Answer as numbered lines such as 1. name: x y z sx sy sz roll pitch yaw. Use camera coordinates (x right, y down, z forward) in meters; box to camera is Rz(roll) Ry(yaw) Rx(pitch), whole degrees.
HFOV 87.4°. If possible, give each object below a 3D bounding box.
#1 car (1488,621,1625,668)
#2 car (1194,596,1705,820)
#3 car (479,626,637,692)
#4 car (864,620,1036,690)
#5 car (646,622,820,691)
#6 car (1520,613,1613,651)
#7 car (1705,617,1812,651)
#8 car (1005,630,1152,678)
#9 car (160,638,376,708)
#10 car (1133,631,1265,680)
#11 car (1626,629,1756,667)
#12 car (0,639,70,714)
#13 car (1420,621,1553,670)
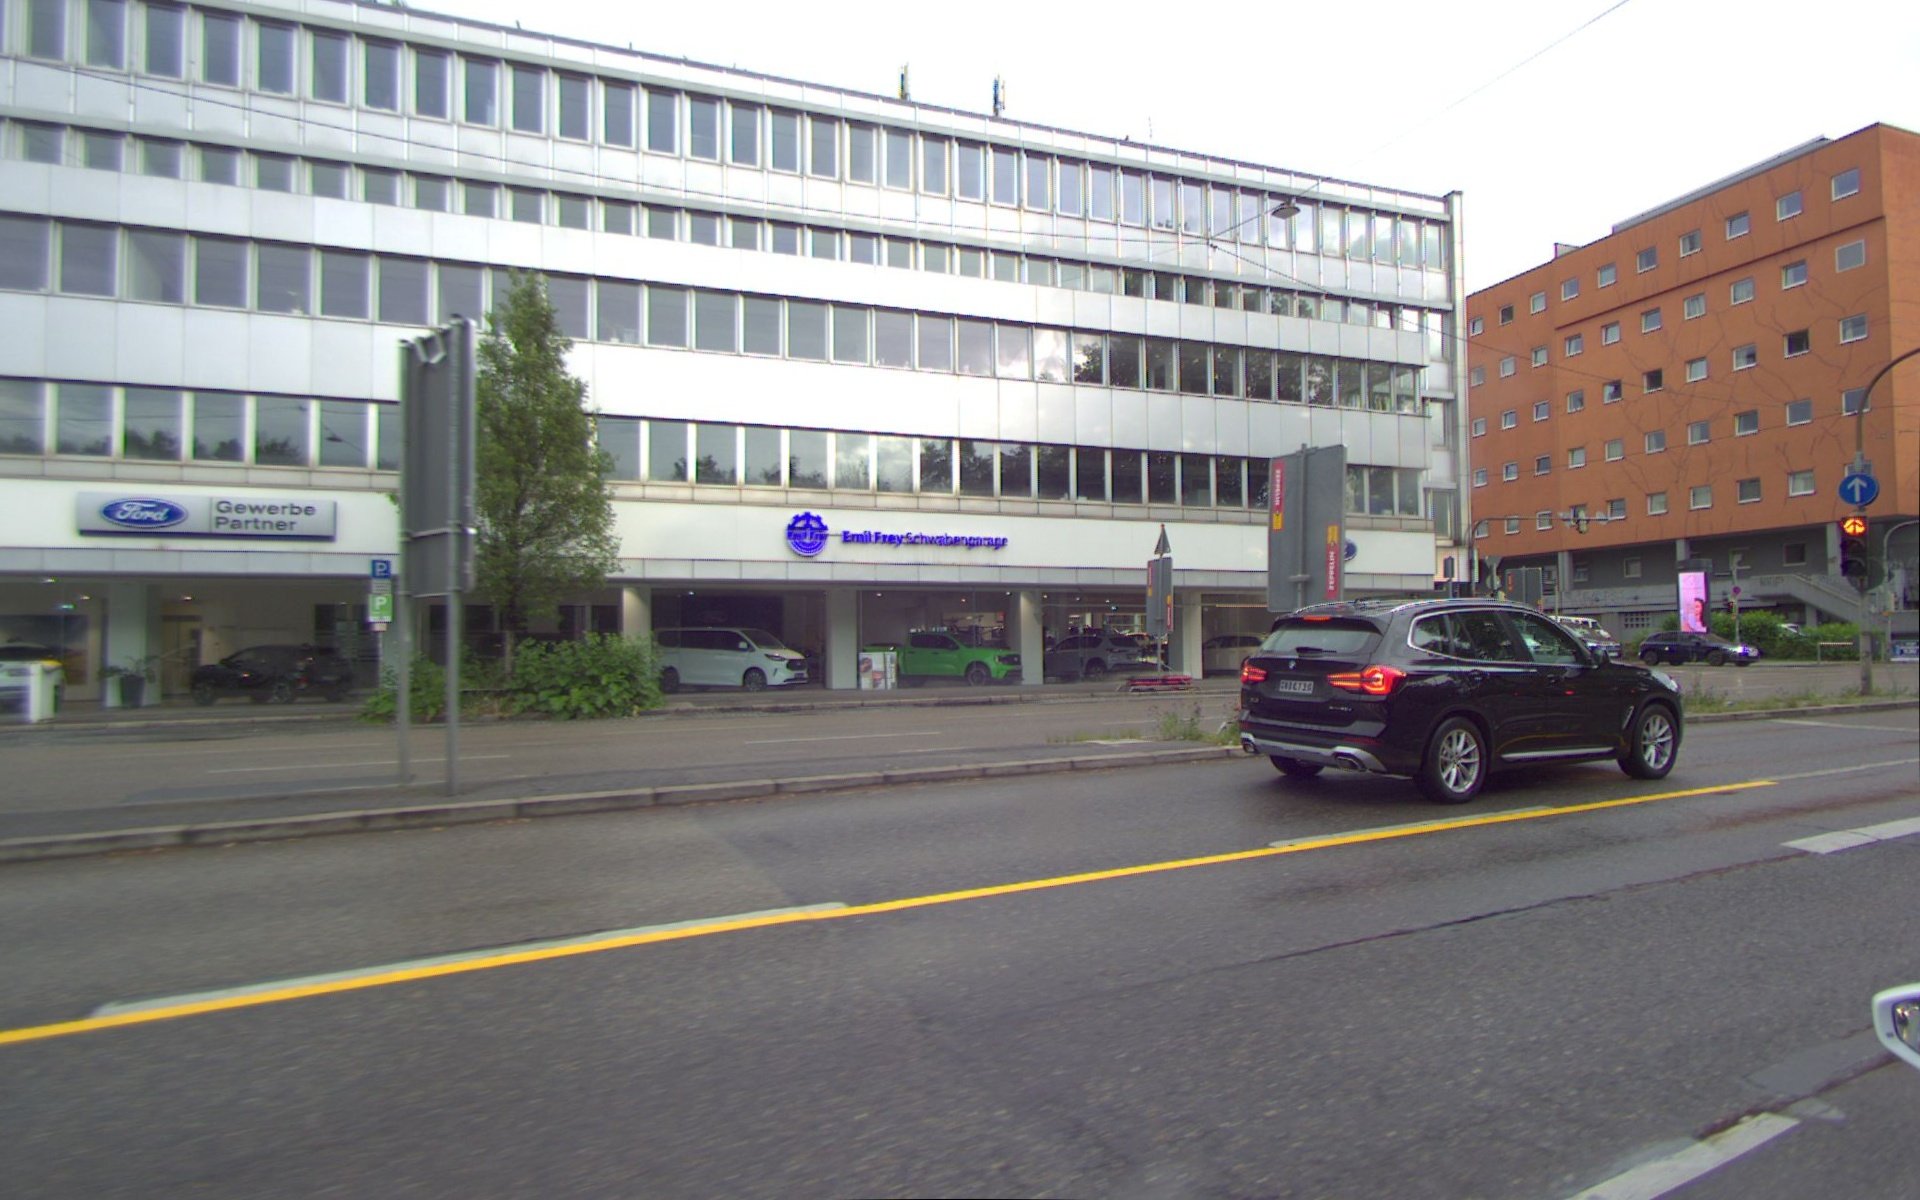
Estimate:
1. car: 26.002 2.013 44.045 1.969 1.869 5.074 1 -4 -18
2. car: 4.615 0.800 9.355 4.610 1.619 1.940 -1 0 -28
3. car: -10.514 1.567 26.212 3.934 1.594 1.994 -4 -4 34
4. car: -0.342 1.795 31.901 5.112 2.037 1.998 -3 -4 28
5. car: -6.963 1.753 30.802 4.891 1.922 2.001 -2 -4 19
6. car: 34.605 1.836 57.310 4.778 2.041 1.990 1 2 -20
7. car: 41.916 1.826 52.863 1.864 1.639 4.013 0 -4 -18
8. car: 4.086 1.946 35.540 1.985 1.540 5.144 2 -5 -42
9. car: -17.051 1.795 24.977 3.933 1.594 1.995 0 -4 -15
10. car: 9.067 2.168 38.444 1.981 1.761 4.725 1 -4 -36
11. car: 29.897 2.002 41.253 1.560 1.464 4.133 0 -4 -19
12. car: -23.388 1.835 23.859 4.305 1.673 1.853 -3 -4 26
13. car: 22.726 2.013 43.598 1.968 1.957 5.195 0 -4 -17
